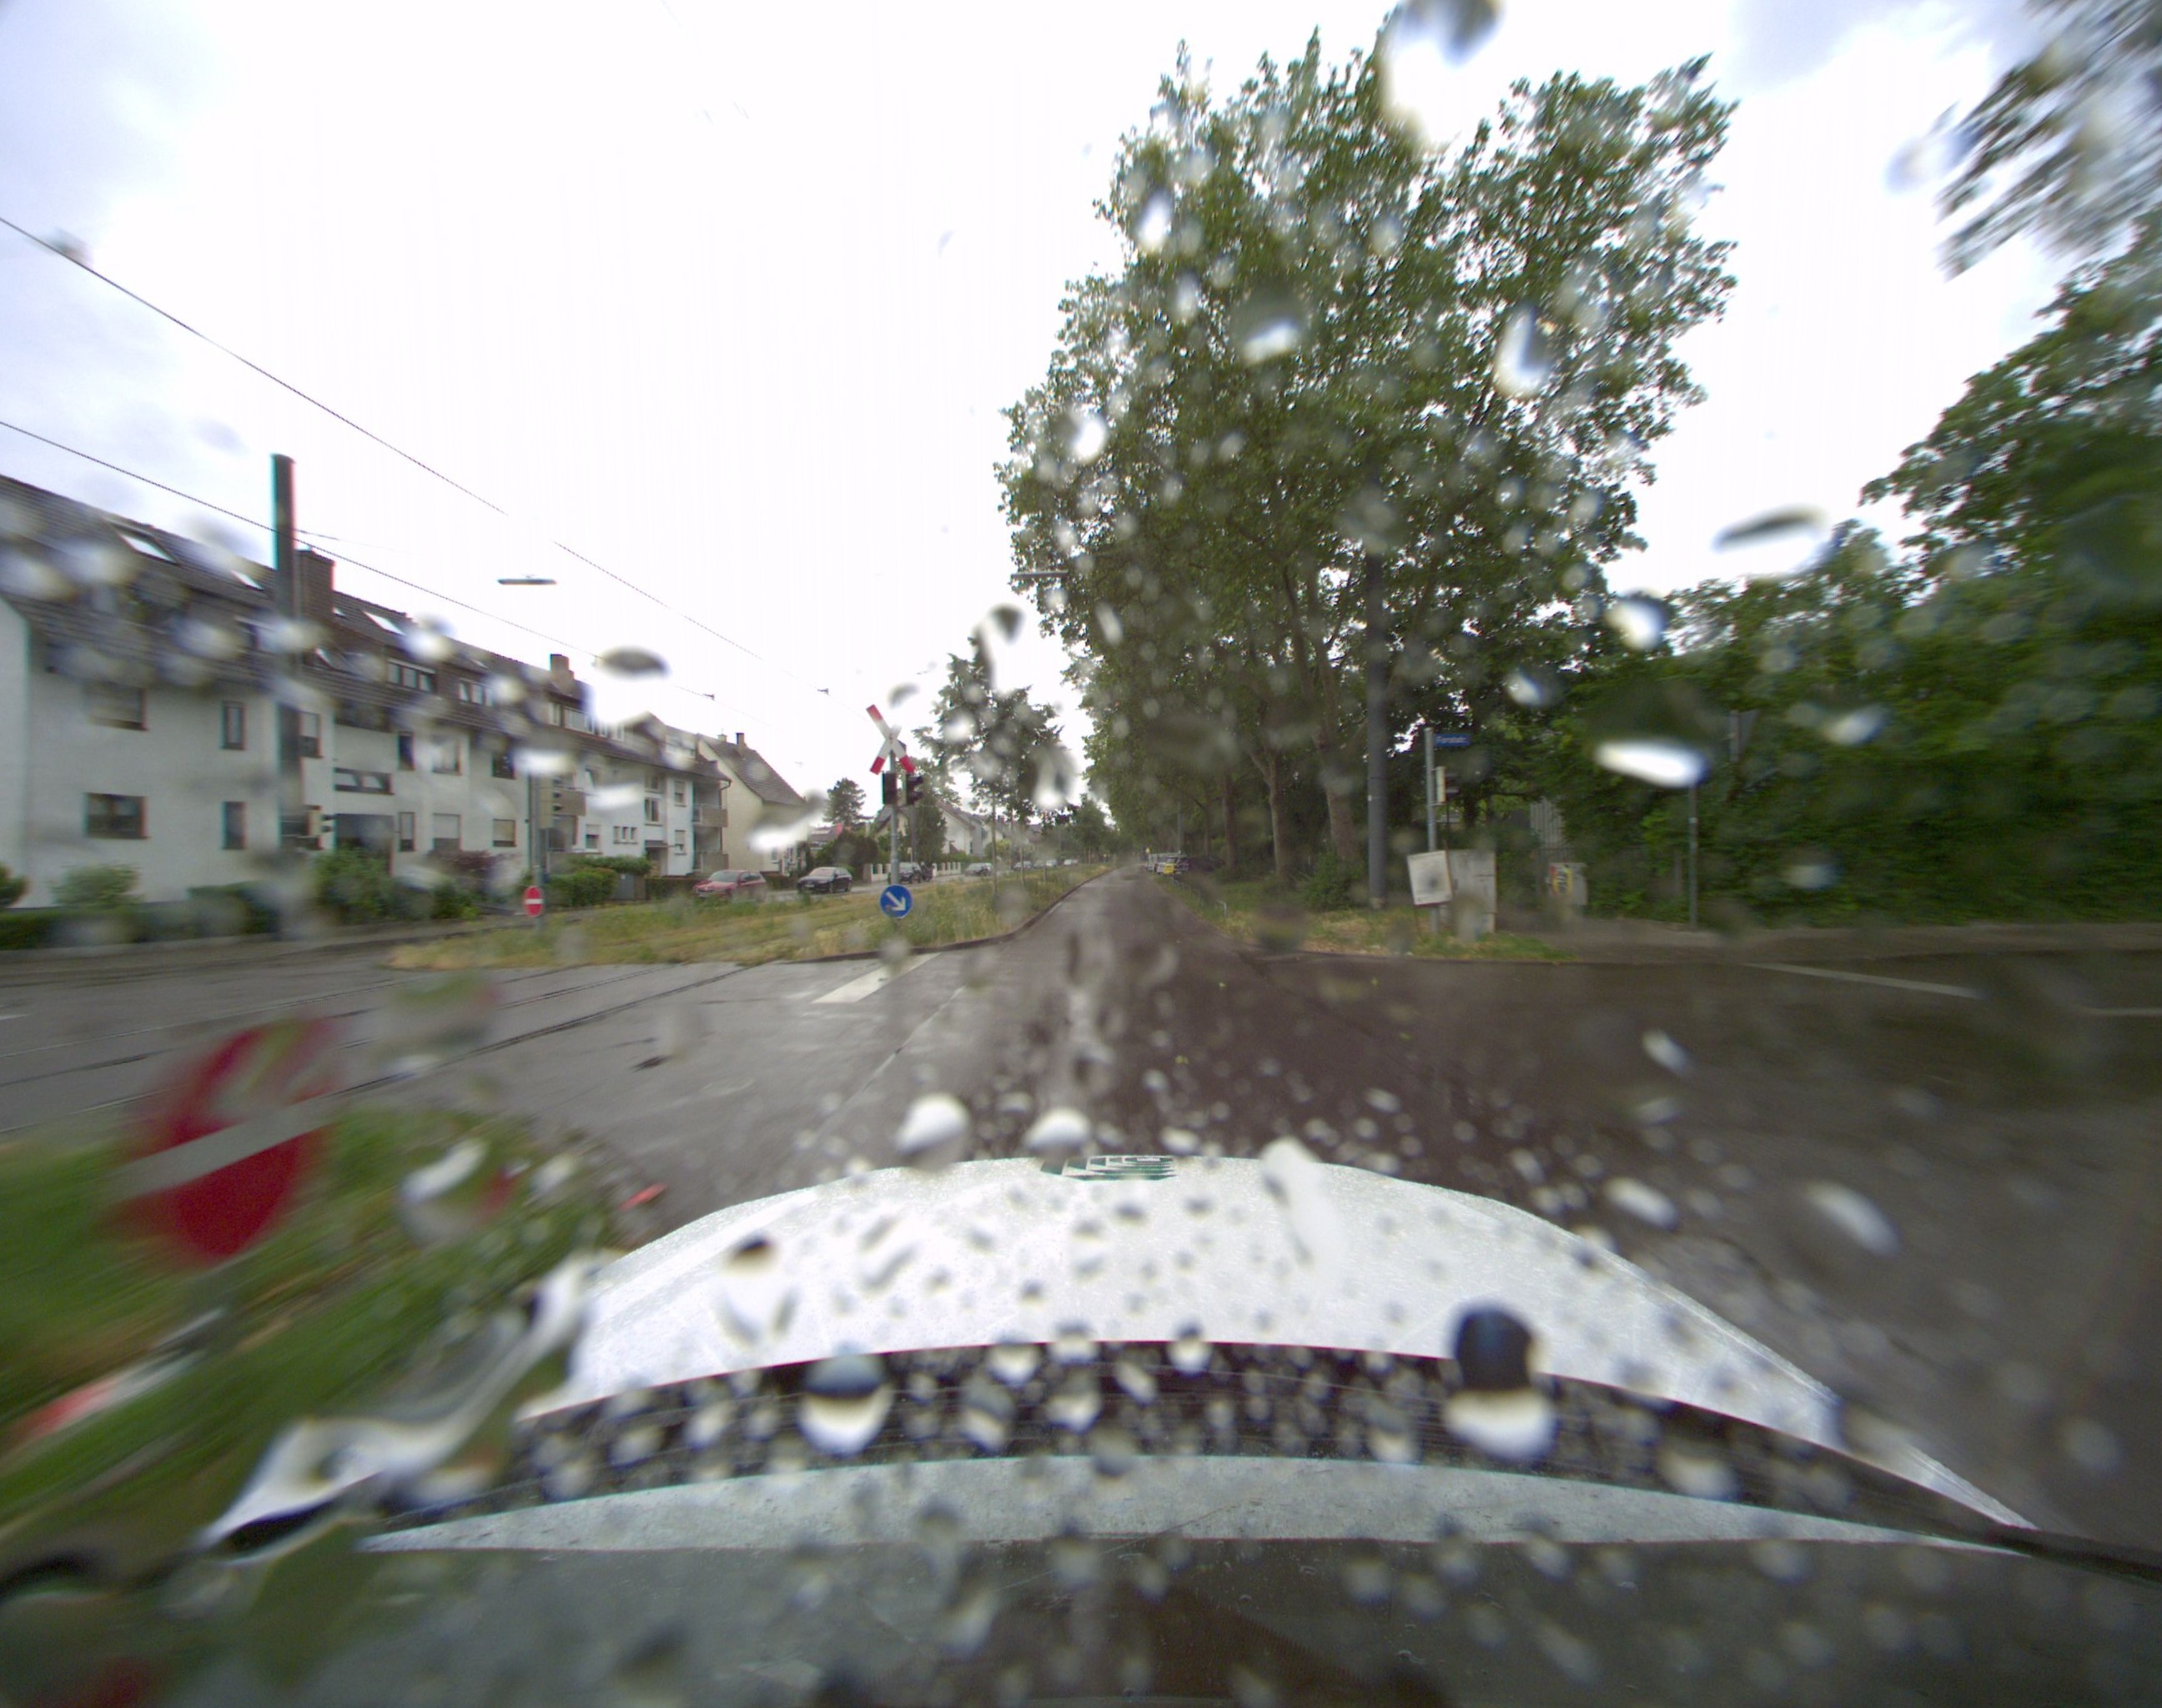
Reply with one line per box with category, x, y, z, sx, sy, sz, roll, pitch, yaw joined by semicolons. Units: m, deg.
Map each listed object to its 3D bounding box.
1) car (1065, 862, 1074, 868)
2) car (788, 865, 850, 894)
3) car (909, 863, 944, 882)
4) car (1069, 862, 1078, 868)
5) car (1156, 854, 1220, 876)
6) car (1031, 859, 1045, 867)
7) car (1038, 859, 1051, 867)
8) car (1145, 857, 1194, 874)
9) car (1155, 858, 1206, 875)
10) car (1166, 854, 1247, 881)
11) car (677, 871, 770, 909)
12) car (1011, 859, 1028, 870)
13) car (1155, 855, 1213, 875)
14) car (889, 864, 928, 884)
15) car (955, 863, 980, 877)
car;-2.647;2.558;187.780;1.920;1.486;4.004;-1;-1;4
car;-14.516;1.395;45.347;1.920;1.486;4.004;-1;-1;4
car;-13.085;1.554;69.192;1.920;1.486;4.004;-1;-1;4
car;-1.770;2.675;201.576;1.920;1.486;4.004;-1;-1;4
car;7.428;0.774;56.564;3.992;1.453;1.991;0;-1;-14
car;-7.707;1.603;145.571;1.920;1.486;4.004;-1;-1;4
car;-7.032;1.771;157.660;1.920;1.486;4.004;-1;-1;4
car;7.971;1.057;73.507;3.992;1.453;1.991;0;-1;-14
car;8.652;1.088;70.854;3.992;1.453;1.991;0;-1;-14
car;6.925;0.740;45.029;3.992;1.453;1.991;0;-1;-14
car;-14.959;1.467;34.334;1.920;1.486;4.004;-1;-1;4
car;-9.303;1.604;123.381;1.920;1.486;4.004;-1;-1;4
car;7.862;0.821;62.279;3.992;1.453;1.991;0;-1;-14
car;-13.197;1.511;62.471;1.920;1.486;4.004;-1;-1;4
car;-12.383;1.717;89.160;1.920;1.486;4.004;-1;-1;4
